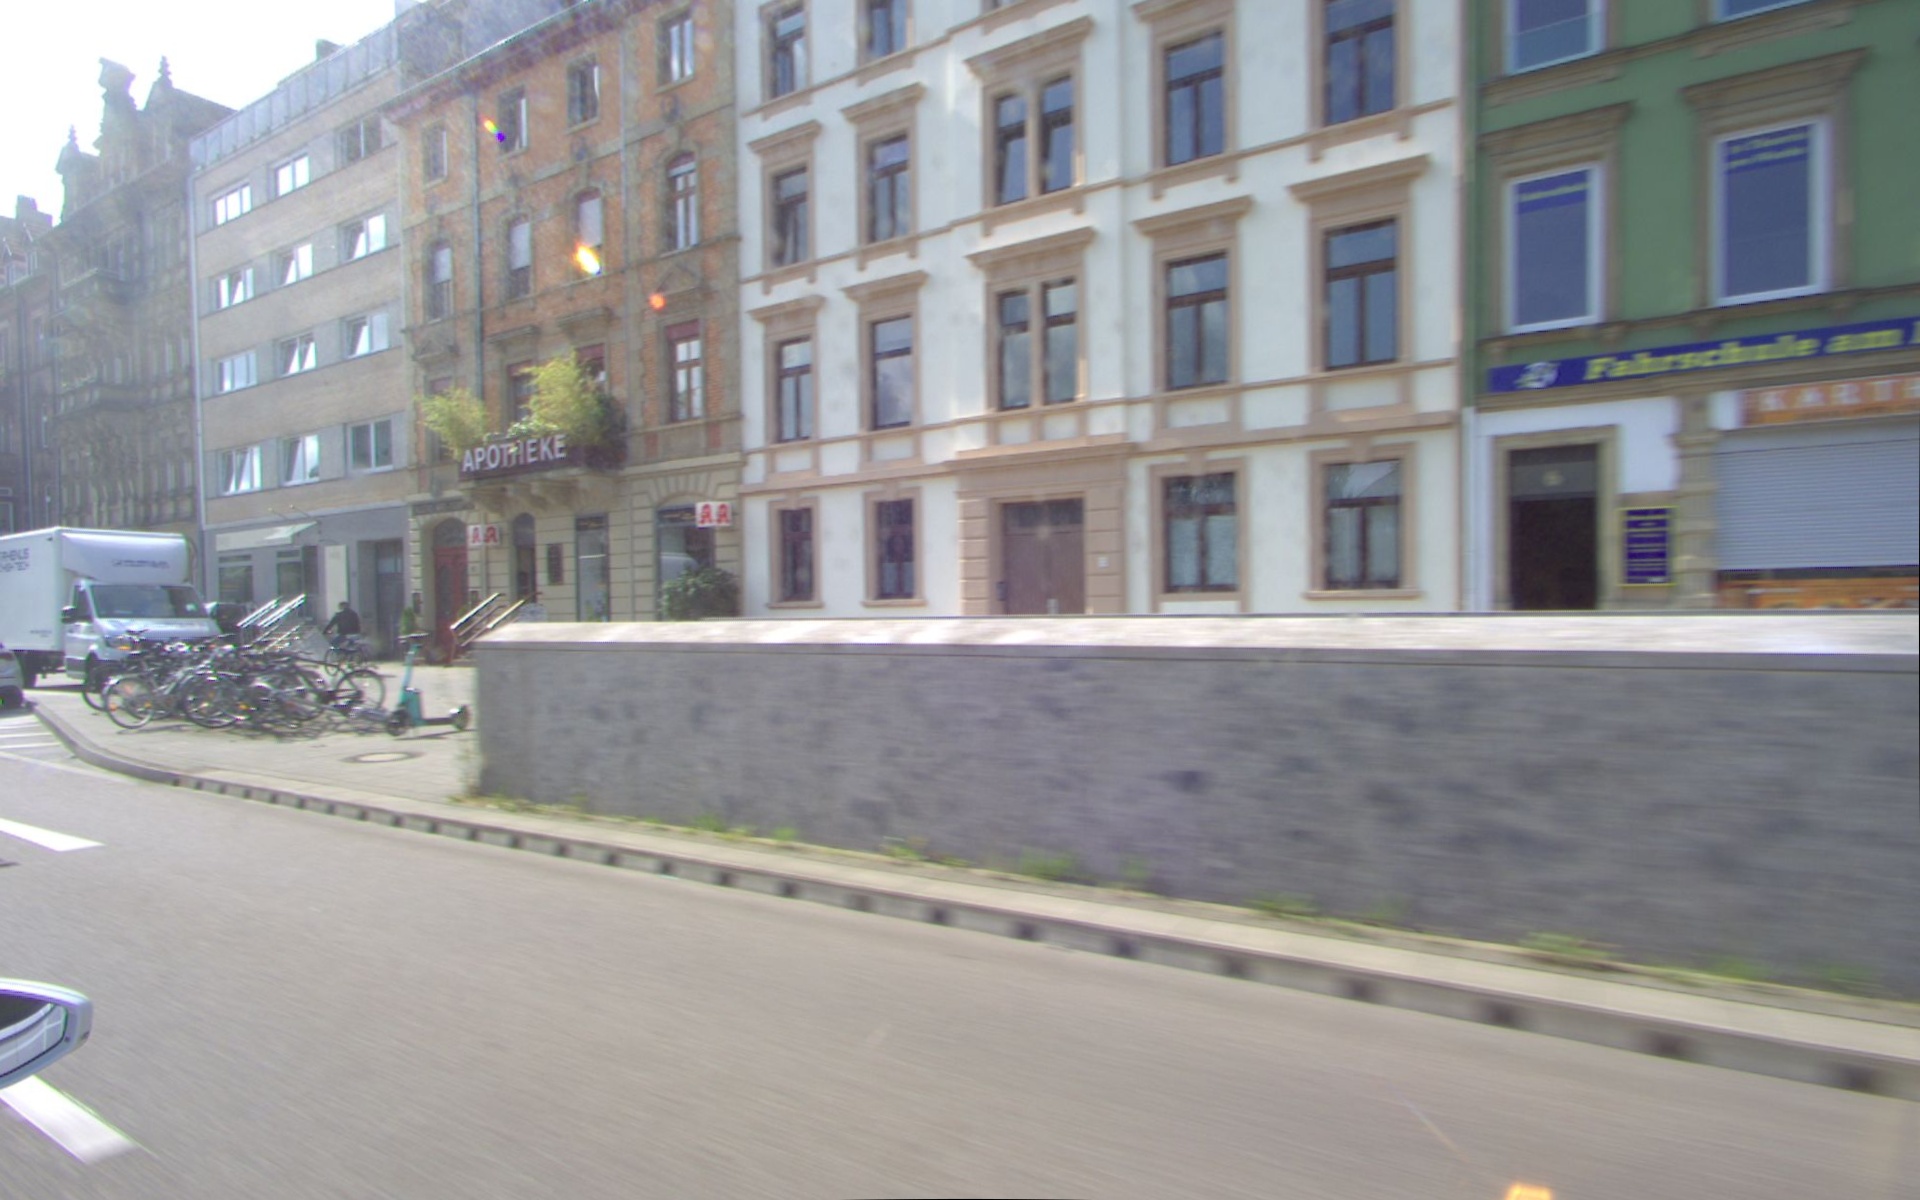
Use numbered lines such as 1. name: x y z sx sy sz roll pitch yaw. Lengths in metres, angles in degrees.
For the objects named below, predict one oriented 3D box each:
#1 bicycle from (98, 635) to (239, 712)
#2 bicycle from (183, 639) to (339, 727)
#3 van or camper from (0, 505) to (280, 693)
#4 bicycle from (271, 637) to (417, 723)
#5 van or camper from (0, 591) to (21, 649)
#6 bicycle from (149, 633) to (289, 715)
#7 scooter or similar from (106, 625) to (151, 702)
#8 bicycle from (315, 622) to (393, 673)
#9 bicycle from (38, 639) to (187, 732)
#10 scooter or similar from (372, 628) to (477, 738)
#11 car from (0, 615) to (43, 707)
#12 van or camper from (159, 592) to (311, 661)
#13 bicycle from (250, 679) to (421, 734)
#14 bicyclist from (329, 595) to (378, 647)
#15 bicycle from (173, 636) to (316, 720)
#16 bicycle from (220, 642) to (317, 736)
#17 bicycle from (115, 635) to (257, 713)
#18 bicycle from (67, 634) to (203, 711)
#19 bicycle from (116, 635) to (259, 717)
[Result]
1. bicycle: -12.444 1.124 15.798 0.366 1.099 1.758 1 0 26
2. bicycle: -9.578 1.105 13.793 0.367 1.099 1.754 1 0 34
3. van or camper: -17.723 0.030 21.299 7.534 3.375 2.705 -1 1 34
4. bicycle: -8.637 1.094 14.104 0.367 1.099 1.754 1 0 34
5. van or camper: -43.827 0.897 44.320 5.486 2.507 1.989 -1 0 33
6. bicycle: -10.965 1.070 14.891 0.366 1.099 1.760 1 0 20
7. scooter or similar: -13.801 1.039 16.609 1.237 1.229 0.367 -1 -1 41
8. bicycle: -14.137 1.122 23.340 2.180 1.060 0.702 -5 -4 34
9. bicycle: -11.109 1.089 13.193 0.365 1.099 1.600 1 0 13
10. scooter or similar: -6.655 1.005 12.488 0.376 1.255 1.162 0 2 20
11. car: -17.653 1.088 17.185 4.284 1.457 1.784 -2 3 34
12. van or camper: -22.831 0.802 31.490 5.222 1.931 1.988 -1 3 32
13. bicycle: -8.003 1.359 12.895 1.737 0.594 0.638 -1 1 -8
14. bicyclist: -14.143 0.496 23.359 0.803 1.161 0.706 -5 -4 34
15. bicycle: -10.300 1.089 14.488 0.366 1.099 1.759 1 0 23
16. bicycle: -8.897 1.118 12.858 1.738 1.085 0.370 1 1 32
17. bicycle: -11.964 1.116 15.544 0.366 1.099 1.758 1 0 26
18. bicycle: -12.977 1.113 15.818 0.365 1.099 1.761 1 0 16
19. bicycle: -11.422 1.093 14.878 0.366 1.099 1.760 1 0 20
